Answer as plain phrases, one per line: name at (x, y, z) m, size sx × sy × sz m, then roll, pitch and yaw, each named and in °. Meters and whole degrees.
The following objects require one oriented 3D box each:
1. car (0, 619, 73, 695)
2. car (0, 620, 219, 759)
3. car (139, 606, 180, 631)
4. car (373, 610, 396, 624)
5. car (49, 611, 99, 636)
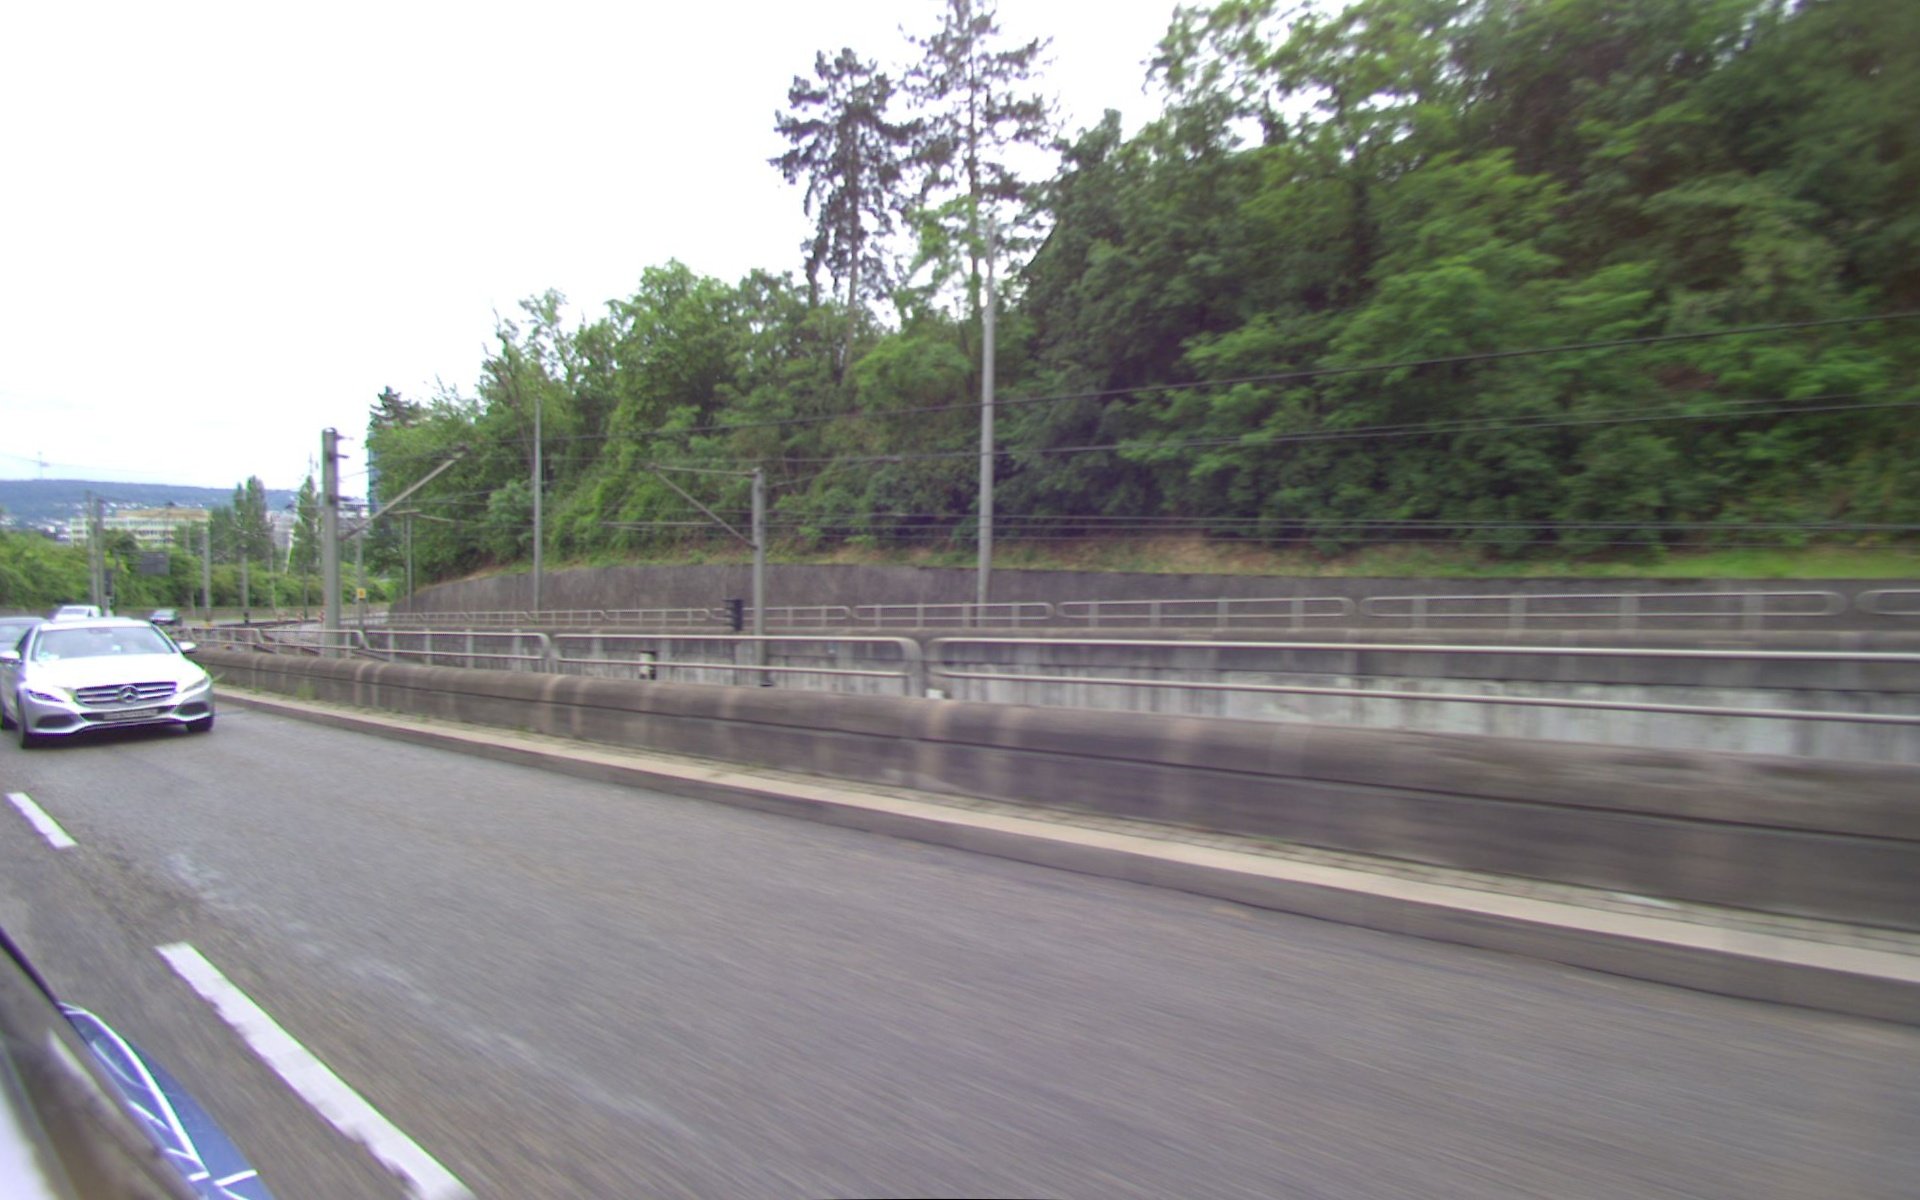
car at (-20.244, 1.185, 21.637) m, size 1.705 × 1.482 × 3.890 m, roll -1°, pitch -1°, yaw -44°
car at (-11.052, 0.999, 12.923) m, size 4.315 × 1.413 × 1.836 m, roll -1°, pitch 0°, yaw 44°
car at (-68.260, 1.584, 86.373) m, size 1.965 × 2.029 × 4.508 m, roll 0°, pitch -1°, yaw -28°
car at (-70.886, 2.088, 124.658) m, size 1.907 × 1.696 × 4.422 m, roll 0°, pitch -1°, yaw -22°
car at (-65.199, 1.699, 74.543) m, size 1.780 × 1.521 × 4.013 m, roll -3°, pitch 3°, yaw -27°
